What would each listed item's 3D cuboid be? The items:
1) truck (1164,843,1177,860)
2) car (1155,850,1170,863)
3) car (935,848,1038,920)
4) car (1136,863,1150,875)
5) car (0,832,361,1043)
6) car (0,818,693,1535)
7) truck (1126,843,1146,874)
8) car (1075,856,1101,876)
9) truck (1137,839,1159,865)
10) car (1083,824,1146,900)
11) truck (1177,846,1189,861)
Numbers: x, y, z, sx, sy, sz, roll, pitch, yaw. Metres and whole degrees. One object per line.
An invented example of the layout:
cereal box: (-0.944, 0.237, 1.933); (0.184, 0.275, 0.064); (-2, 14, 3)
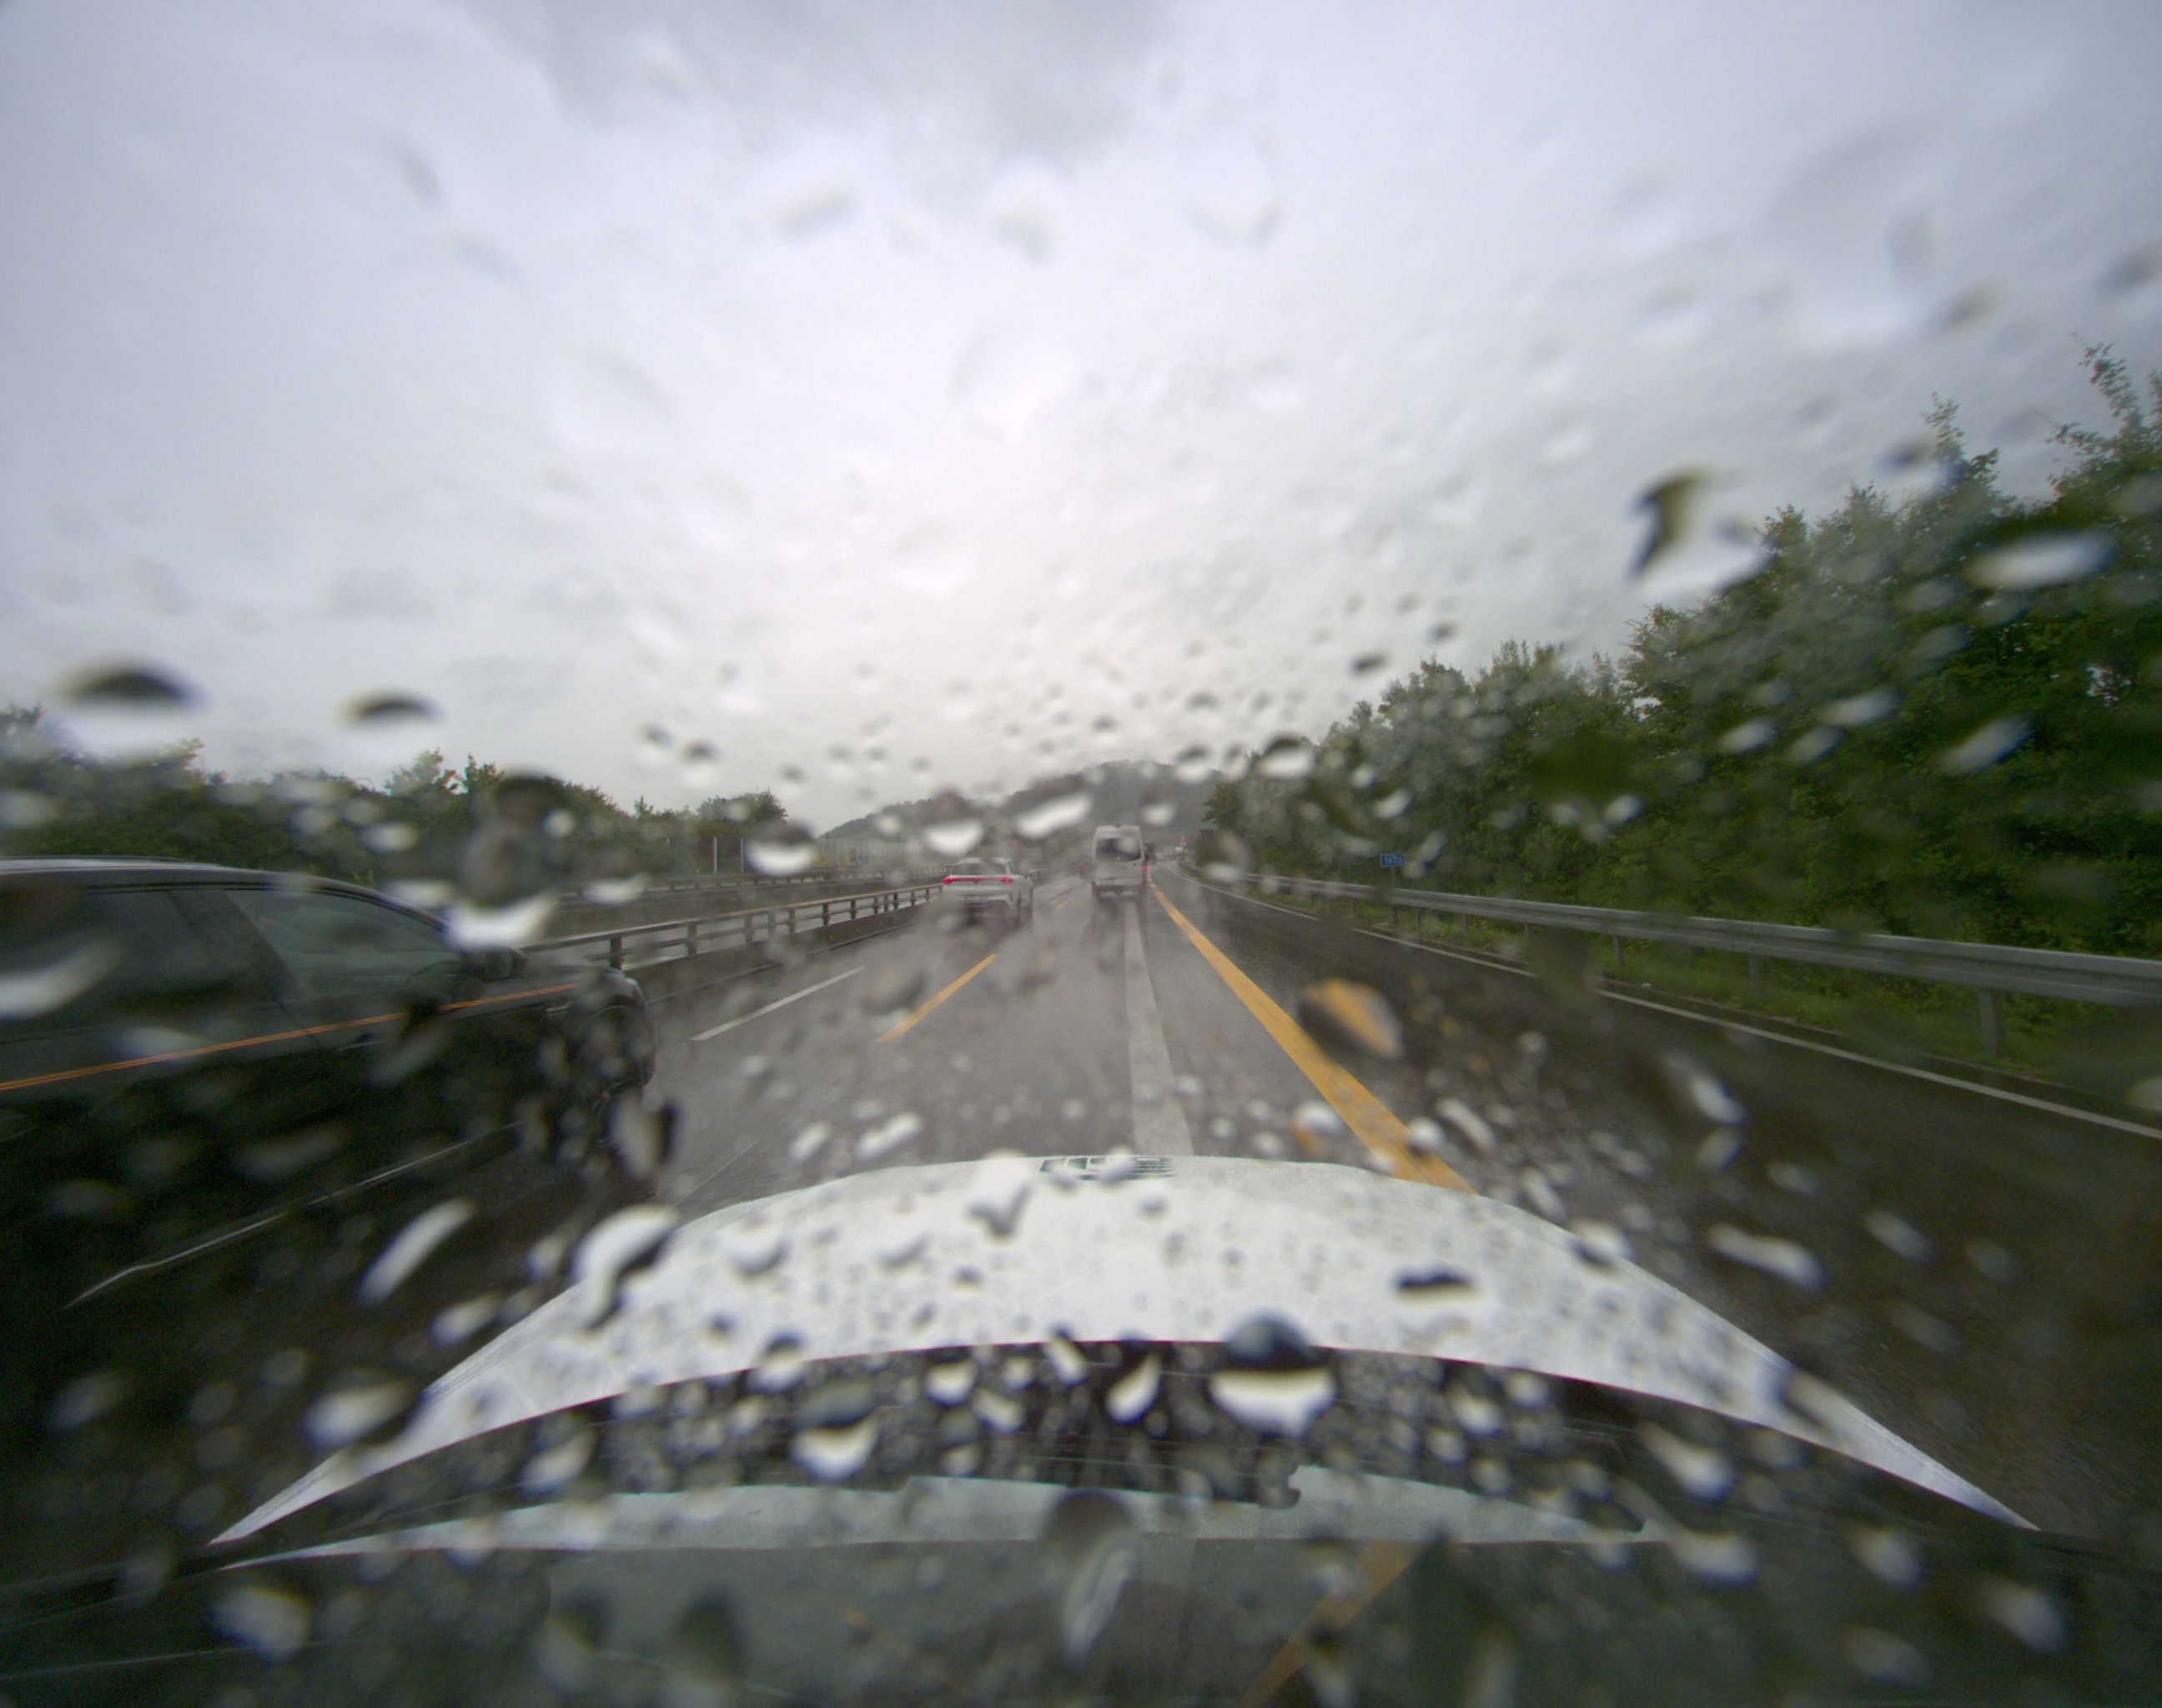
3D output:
truck: (25.341, -0.660, 229.814); (3.017, 4.406, 9.650); (0, -1, 10)
car: (19.410, 0.649, 193.531); (2.880, 2.887, 6.429); (0, -1, 10)
car: (-2.285, 0.706, 20.967); (1.986, 1.617, 4.797); (0, -1, 1)
car: (8.146, 1.956, 107.021); (1.765, 1.475, 4.006); (0, -1, 6)
car: (-9.039, 0.643, 6.943); (1.771, 1.604, 4.320); (0, -1, 3)
car: (-3.364, 0.723, 2.656); (1.986, 1.585, 4.414); (0, -1, 1)
truck: (5.936, 0.501, 87.564); (1.984, 3.109, 8.510); (0, -1, 5)
car: (0.572, 0.970, 65.361); (1.939, 1.561, 4.003); (0, -1, 3)
truck: (12.203, -0.319, 147.174); (3.562, 4.406, 9.641); (0, -1, 7)
car: (1.247, 0.305, 30.370); (2.136, 2.571, 5.392); (0, -1, 2)
truck: (32.865, -0.112, 261.118); (2.879, 4.406, 9.656); (0, -1, 13)
